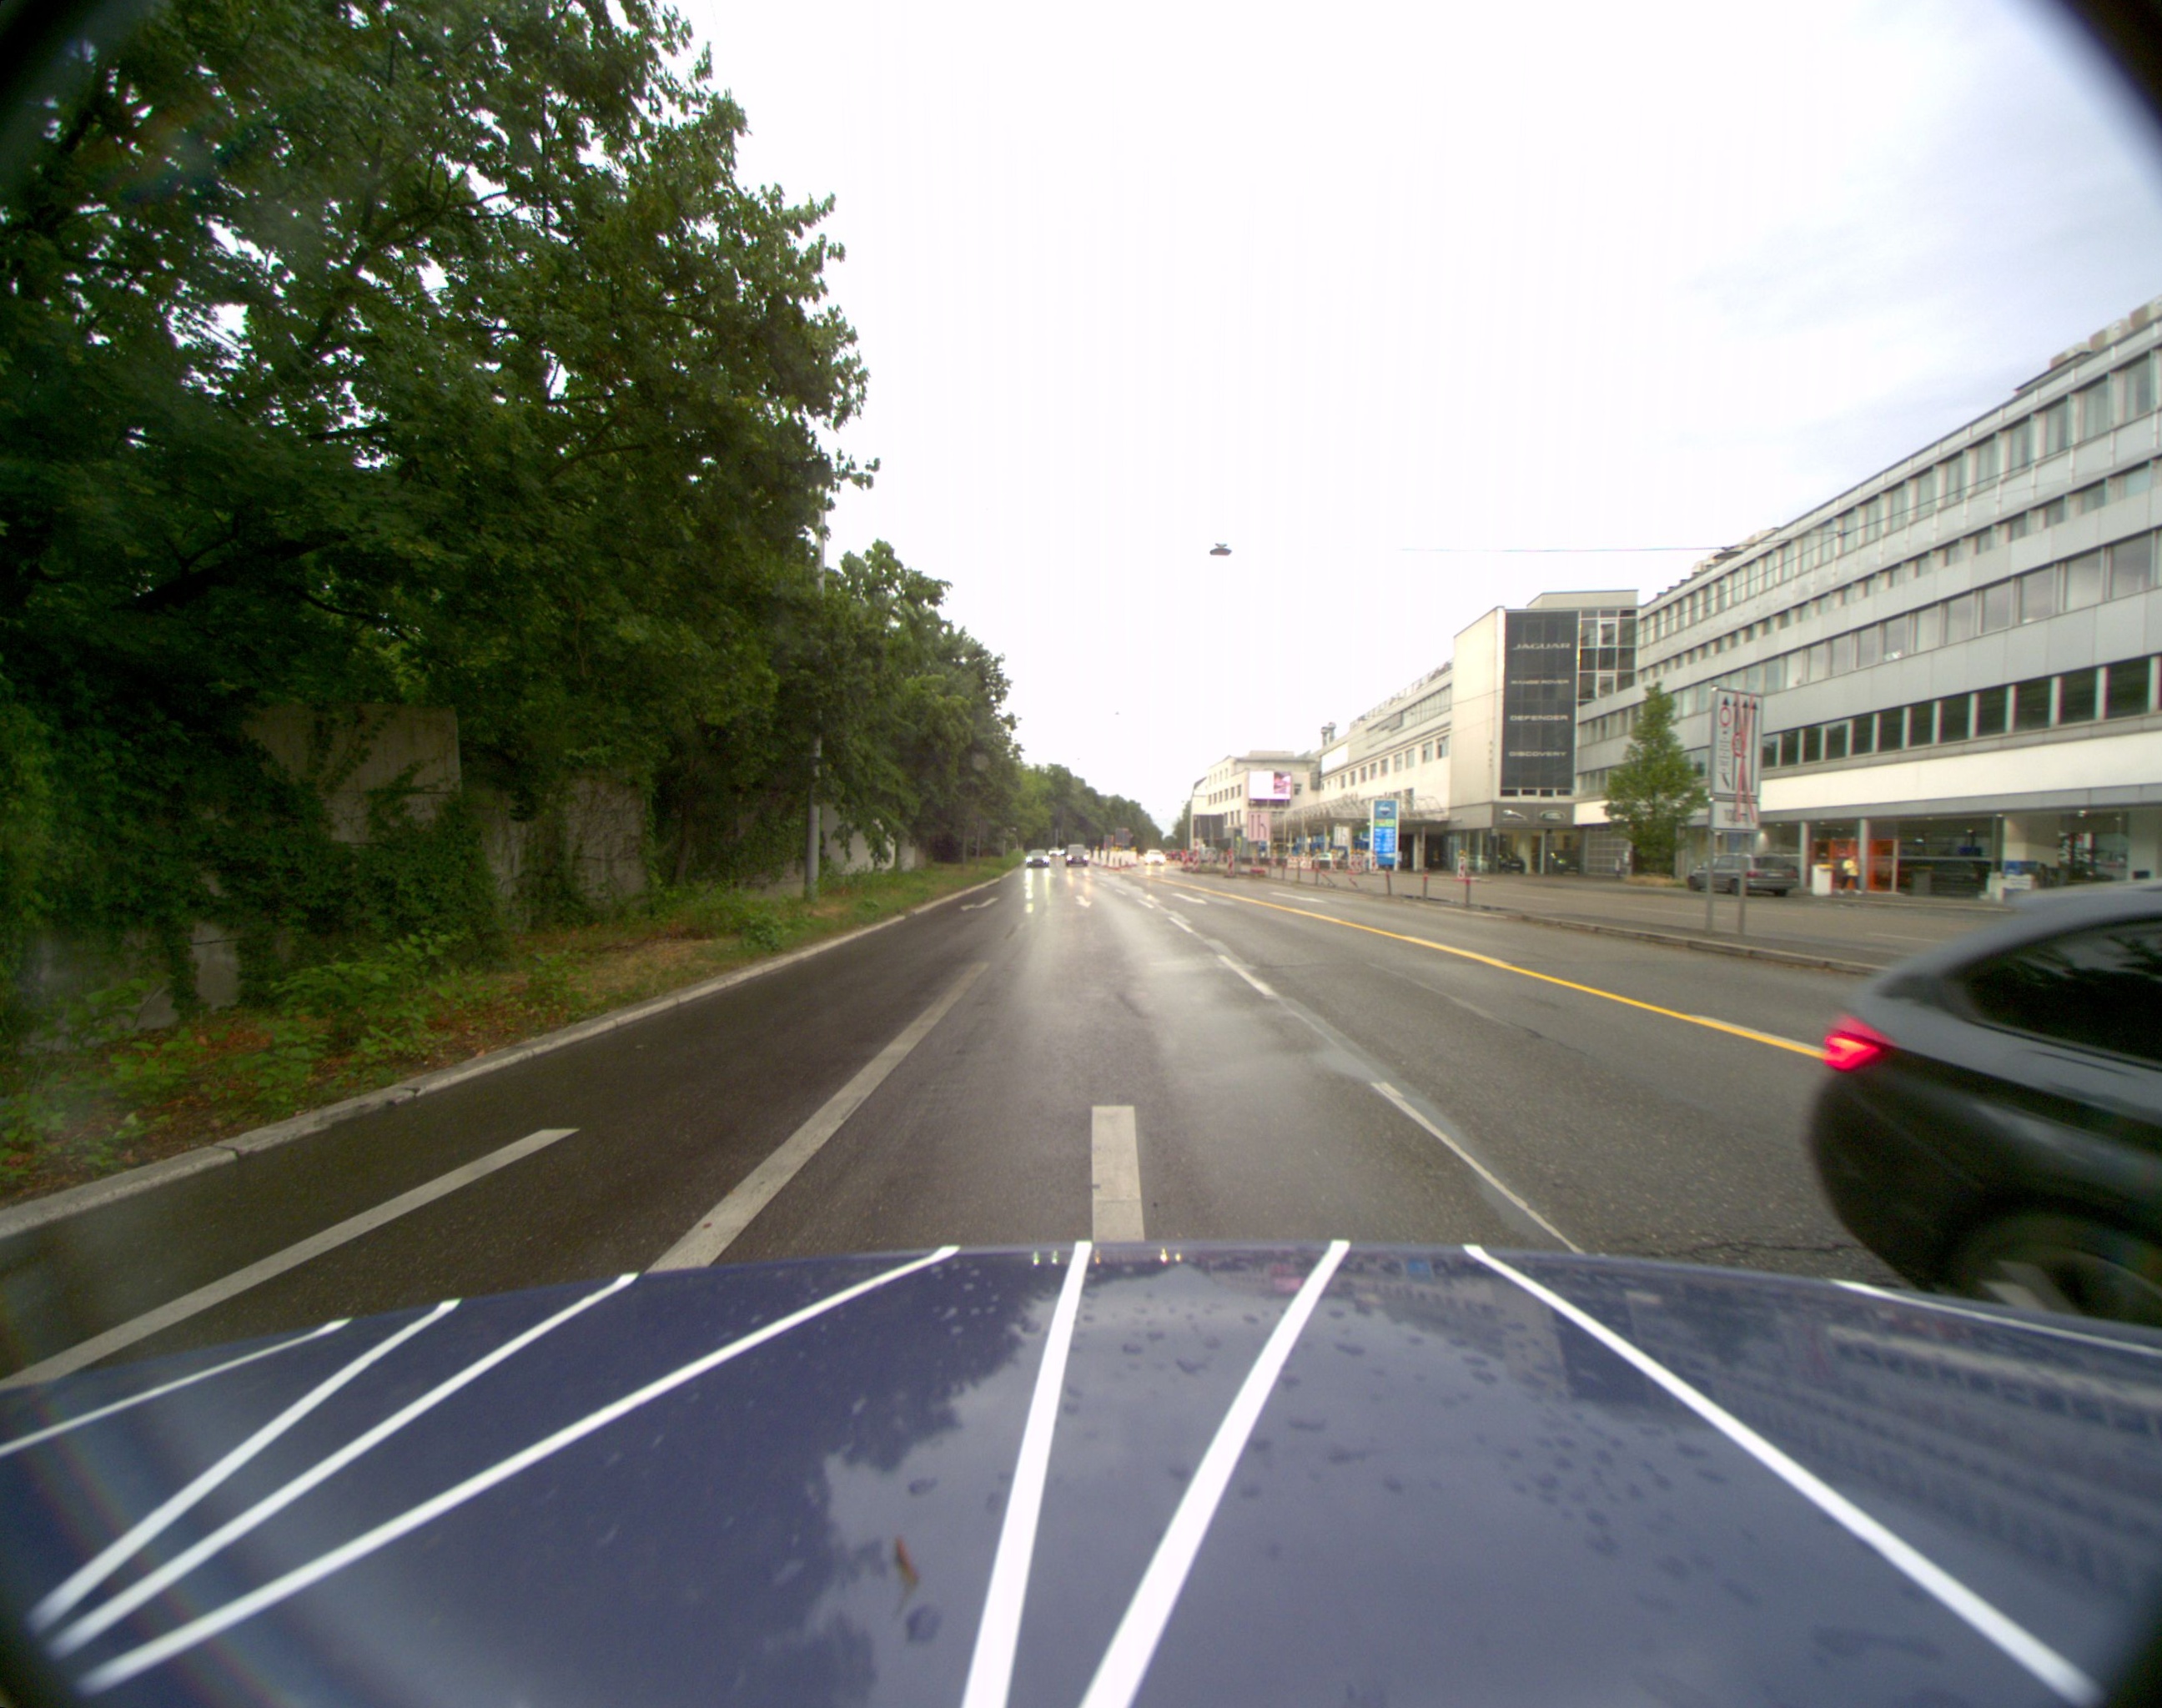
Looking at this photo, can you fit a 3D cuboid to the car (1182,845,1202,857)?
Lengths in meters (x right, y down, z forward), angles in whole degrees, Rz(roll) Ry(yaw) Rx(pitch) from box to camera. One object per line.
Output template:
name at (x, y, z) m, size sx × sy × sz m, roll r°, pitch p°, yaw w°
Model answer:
car at (14.607, -0.465, 100.093) m, size 1.834 × 1.493 × 4.372 m, roll 2°, pitch 1°, yaw -1°

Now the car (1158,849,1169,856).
car at (20.861, -0.495, 192.445) m, size 1.985 × 1.697 × 4.829 m, roll 1°, pitch 1°, yaw -2°

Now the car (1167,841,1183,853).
car at (14.434, -1.077, 117.068) m, size 1.850 × 1.727 × 4.603 m, roll 1°, pitch 1°, yaw 0°

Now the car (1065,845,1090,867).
car at (-0.264, 0.168, 64.450) m, size 1.998 × 1.740 × 3.999 m, roll 2°, pitch 1°, yaw 1°

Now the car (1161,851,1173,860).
car at (16.036, 0.248, 141.591) m, size 1.812 × 1.549 × 4.301 m, roll 1°, pitch 1°, yaw 2°

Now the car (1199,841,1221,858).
car at (14.526, -0.547, 85.907) m, size 1.738 × 1.776 × 4.301 m, roll 2°, pitch 1°, yaw 1°

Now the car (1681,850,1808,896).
car at (28.323, 0.750, 32.666) m, size 1.851 × 1.769 × 4.733 m, roll 2°, pitch 1°, yaw 10°

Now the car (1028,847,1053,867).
car at (-3.349, 0.226, 63.603) m, size 1.742 × 1.477 × 3.917 m, roll -2°, pitch 1°, yaw 1°

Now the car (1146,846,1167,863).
car at (7.400, 0.024, 74.467) m, size 1.649 × 1.477 × 3.999 m, roll 2°, pitch 1°, yaw 1°

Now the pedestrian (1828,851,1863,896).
pedestrian at (30.370, 0.763, 30.190) m, size 0.719 × 1.722 × 0.538 m, roll 2°, pitch 1°, yaw 14°
